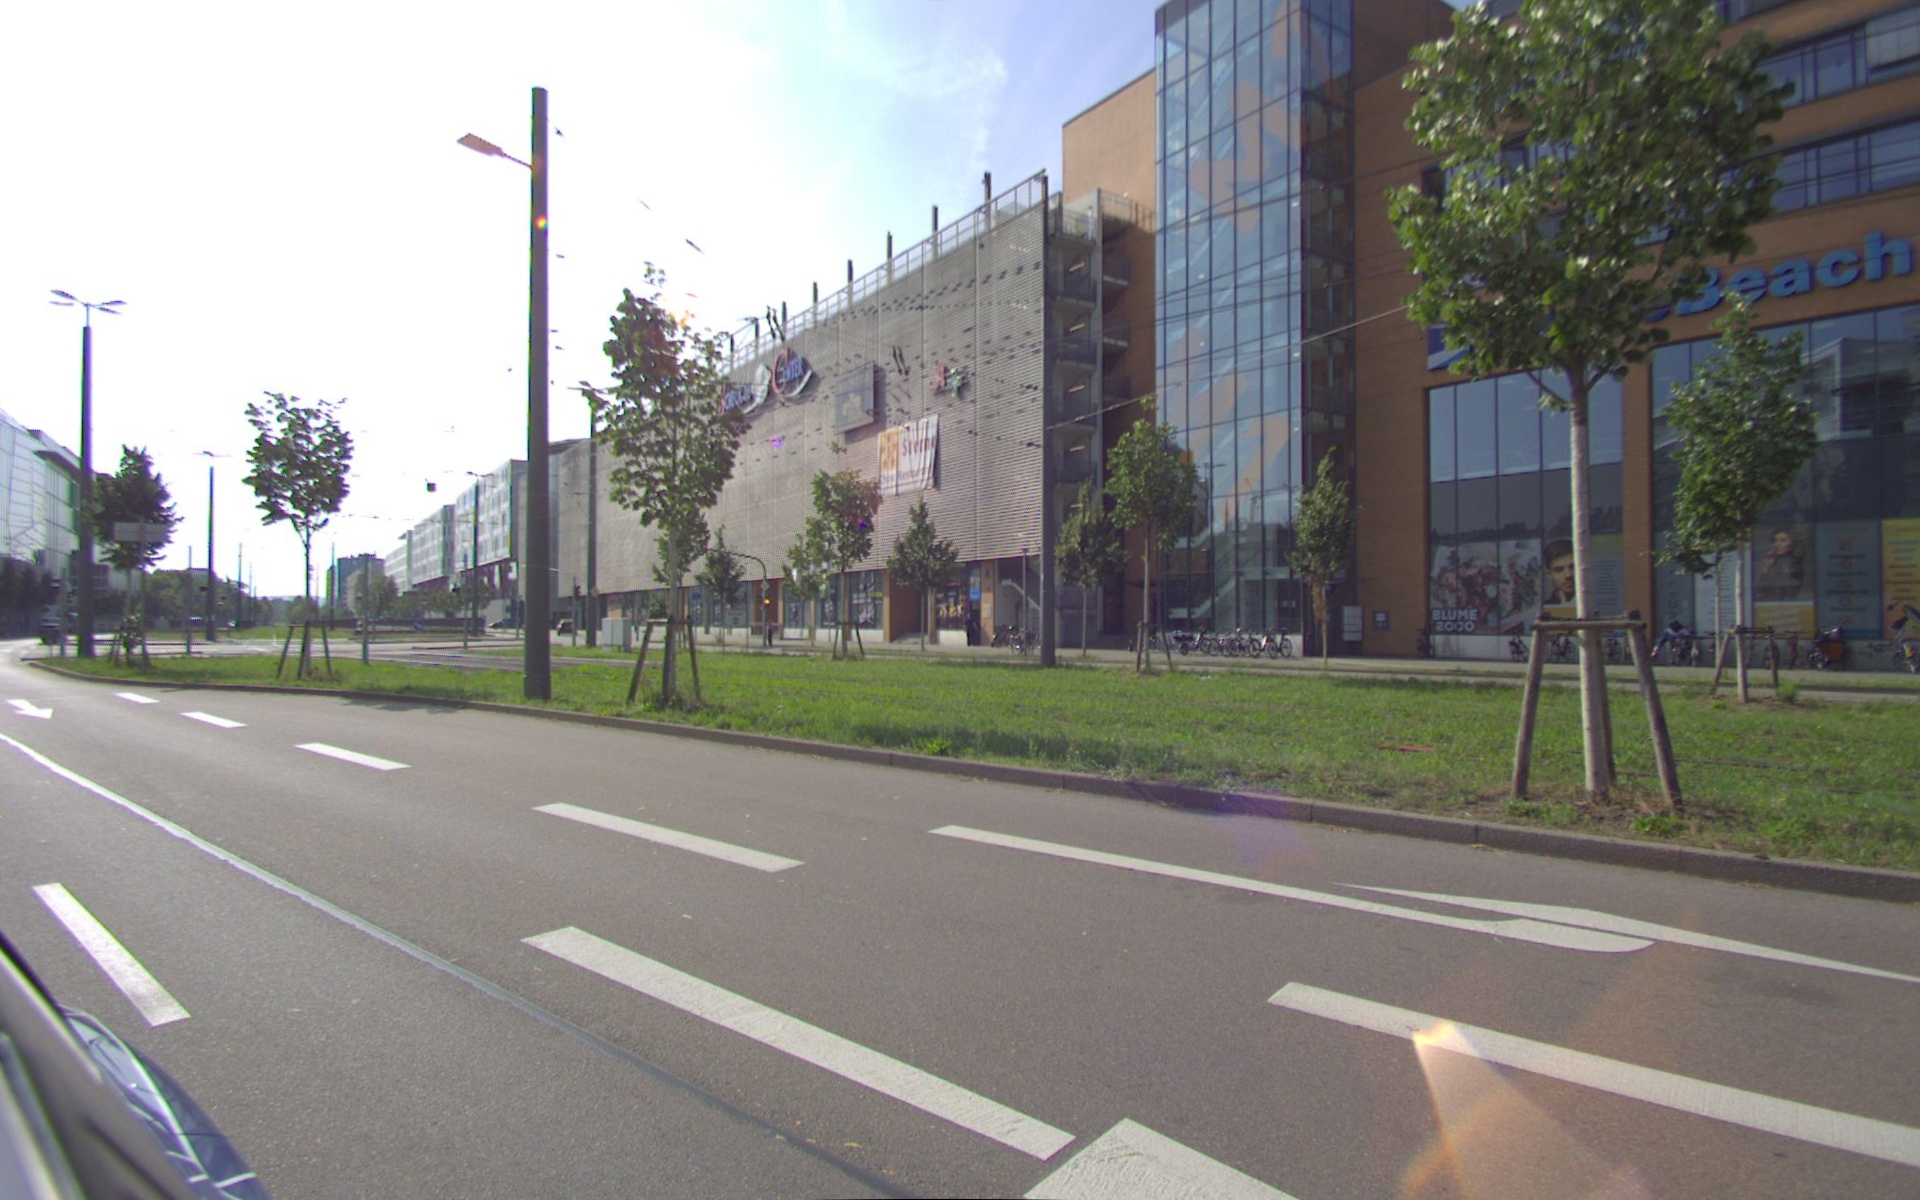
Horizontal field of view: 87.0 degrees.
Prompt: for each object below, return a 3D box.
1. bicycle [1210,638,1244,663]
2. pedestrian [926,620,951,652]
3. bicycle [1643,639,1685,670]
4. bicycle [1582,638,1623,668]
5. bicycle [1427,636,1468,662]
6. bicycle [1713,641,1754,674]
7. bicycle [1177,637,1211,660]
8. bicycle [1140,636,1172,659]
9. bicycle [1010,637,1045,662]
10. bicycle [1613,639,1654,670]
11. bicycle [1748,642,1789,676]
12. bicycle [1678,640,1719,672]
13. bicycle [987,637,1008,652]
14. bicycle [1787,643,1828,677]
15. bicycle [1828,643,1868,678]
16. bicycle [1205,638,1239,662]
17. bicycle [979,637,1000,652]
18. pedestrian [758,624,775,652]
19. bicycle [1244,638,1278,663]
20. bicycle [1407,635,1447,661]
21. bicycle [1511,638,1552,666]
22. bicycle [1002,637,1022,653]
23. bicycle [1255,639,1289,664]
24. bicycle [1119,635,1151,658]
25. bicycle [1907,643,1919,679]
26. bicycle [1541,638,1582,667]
[{"bbox_3d":[10.676,2.009,40.498,1.558,0.947,0.412,1,-2,-36],"label":"bicycle"},{"bbox_3d":[-1.160,1.922,54.331,0.806,1.732,1.179,1,-2,-35],"label":"pedestrian"},{"bbox_3d":[22.510,1.721,32.340,2.022,0.928,0.574,1,-2,-40],"label":"bicycle"},{"bbox_3d":[21.354,1.753,33.608,2.022,0.928,0.574,1,-2,-40],"label":"bicycle"},{"bbox_3d":[18.089,1.811,37.538,2.022,0.928,0.574,1,-2,-40],"label":"bicycle"},{"bbox_3d":[23.719,1.748,31.030,2.022,0.928,0.574,1,-2,-40],"label":"bicycle"},{"bbox_3d":[9.864,2.024,42.602,1.558,0.947,0.474,1,-2,-36],"label":"bicycle"},{"bbox_3d":[8.421,2.015,43.474,1.558,0.947,0.412,1,-2,-37],"label":"bicycle"},{"bbox_3d":[2.889,2.111,43.533,0.438,0.995,2.171,1,-1,-26],"label":"bicycle"},{"bbox_3d":[21.962,1.760,32.980,2.022,0.928,0.574,1,-2,-40],"label":"bicycle"},{"bbox_3d":[24.288,1.758,30.382,2.022,0.928,0.574,1,-2,-40],"label":"bicycle"},{"bbox_3d":[23.105,1.728,31.638,2.022,0.928,0.574,1,-2,-40],"label":"bicycle"},{"bbox_3d":[1.930,2.274,51.466,0.989,0.758,0.453,1,-2,-34],"label":"bicycle"},{"bbox_3d":[24.916,1.755,29.748,2.022,0.928,0.574,1,-2,-40],"label":"bicycle"},{"bbox_3d":[25.537,1.728,29.093,2.022,0.928,0.574,1,-2,-40],"label":"bicycle"},{"bbox_3d":[10.753,2.031,41.507,1.558,0.947,0.412,1,-2,-36],"label":"bicycle"},{"bbox_3d":[1.507,2.271,52.104,0.989,0.758,0.453,1,-2,-34],"label":"bicycle"},{"bbox_3d":[-11.136,2.192,58.315,0.751,1.591,0.591,1,-2,-39],"label":"pedestrian"},{"bbox_3d":[11.839,1.989,39.768,1.558,0.947,0.412,1,-2,-36],"label":"bicycle"},{"bbox_3d":[17.593,1.806,38.085,2.022,0.928,0.574,1,-2,-40],"label":"bicycle"},{"bbox_3d":[19.910,1.808,35.222,2.022,0.928,0.574,1,-2,-40],"label":"bicycle"},{"bbox_3d":[2.592,2.231,50.473,1.007,0.758,0.362,1,-2,-34],"label":"bicycle"},{"bbox_3d":[11.997,1.973,38.917,1.558,0.947,0.412,1,-2,-38],"label":"bicycle"},{"bbox_3d":[7.678,2.039,44.460,1.558,0.947,0.412,1,-2,-36],"label":"bicycle"},{"bbox_3d":[26.500,1.661,27.714,2.022,0.928,0.574,1,-2,-40],"label":"bicycle"},{"bbox_3d":[20.512,1.773,34.514,2.022,0.928,0.574,1,-2,-40],"label":"bicycle"}]
